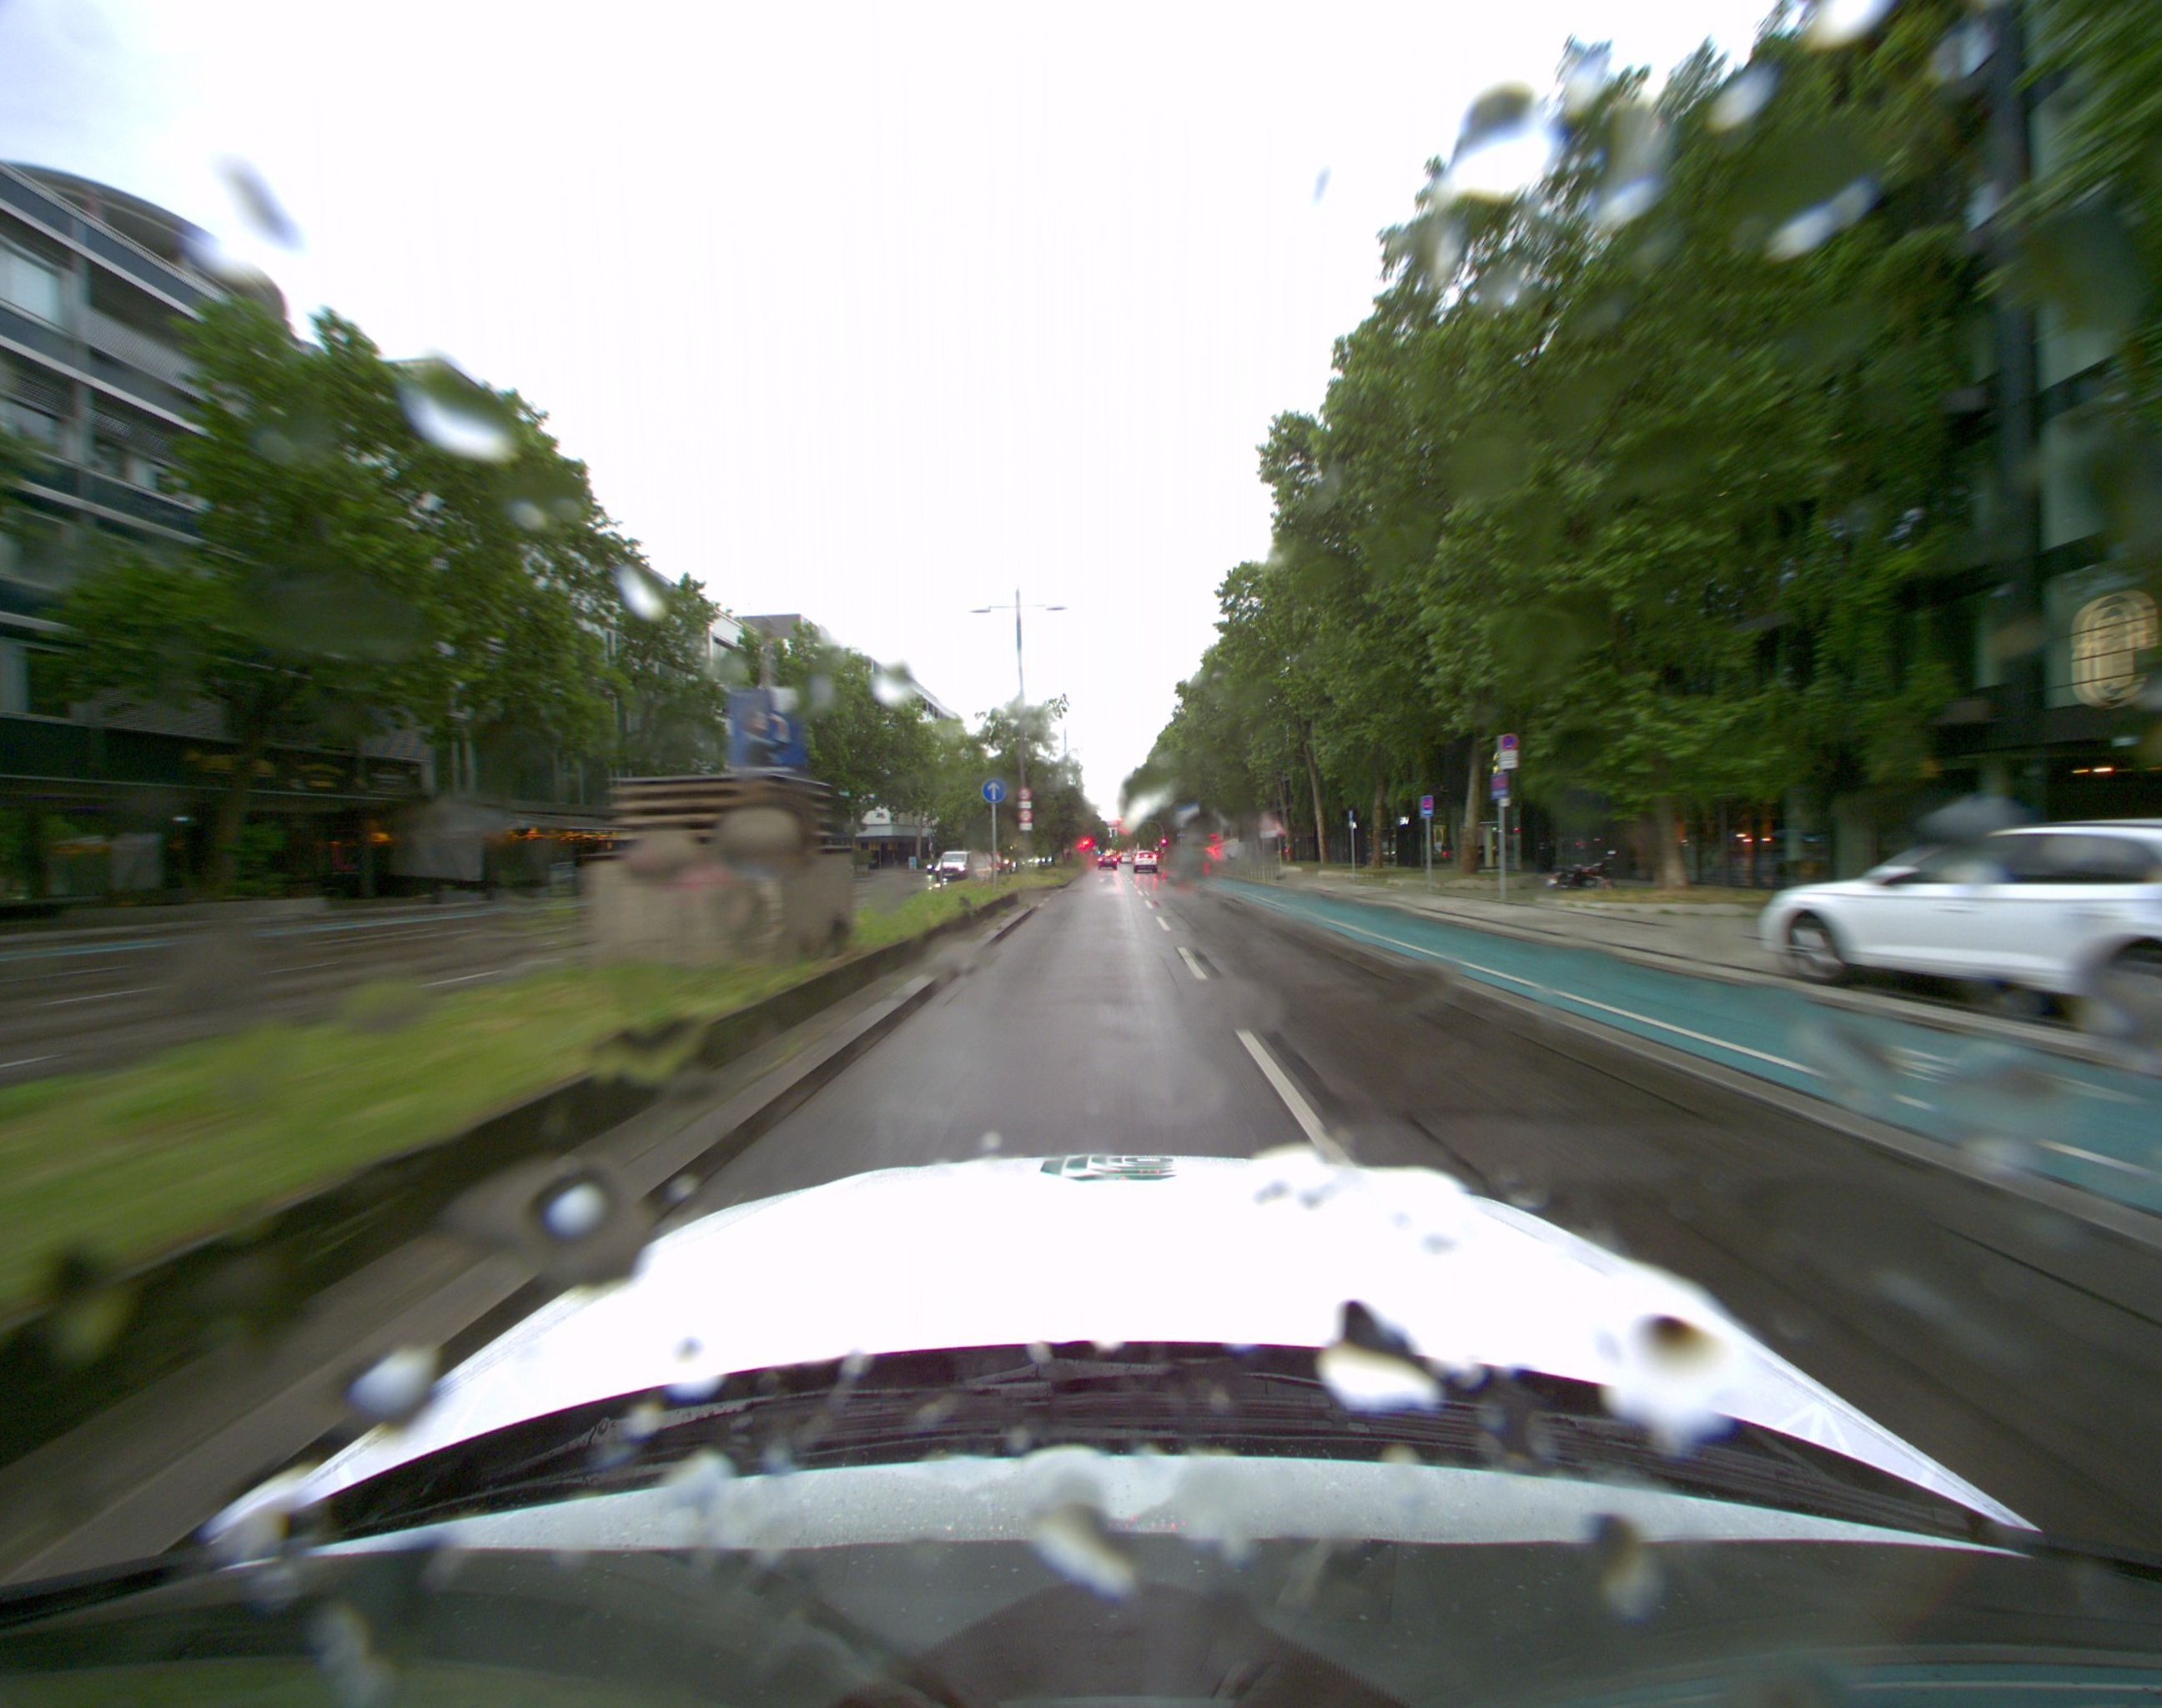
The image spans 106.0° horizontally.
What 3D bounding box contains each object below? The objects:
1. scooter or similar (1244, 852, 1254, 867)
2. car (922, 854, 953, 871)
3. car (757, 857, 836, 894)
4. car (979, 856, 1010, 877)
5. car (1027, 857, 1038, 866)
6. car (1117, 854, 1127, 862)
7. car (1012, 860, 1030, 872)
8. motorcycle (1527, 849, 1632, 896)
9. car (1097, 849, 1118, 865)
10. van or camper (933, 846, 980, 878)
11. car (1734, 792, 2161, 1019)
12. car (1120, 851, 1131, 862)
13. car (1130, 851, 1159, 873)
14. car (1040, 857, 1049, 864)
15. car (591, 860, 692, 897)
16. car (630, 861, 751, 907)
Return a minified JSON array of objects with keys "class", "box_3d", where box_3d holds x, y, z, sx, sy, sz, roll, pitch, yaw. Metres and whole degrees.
[{"class":"scooter or similar","box_3d":[14.277,0.478,69.254,0.377,1.228,1.086,-1,0,38]},{"class":"car","box_3d":[-12.827,0.720,73.035,1.741,1.476,4.100,-1,0,4]},{"class":"car","box_3d":[-13.667,0.996,39.396,1.751,1.614,4.557,0,1,7]},{"class":"car","box_3d":[-6.808,0.952,64.300,1.836,1.482,4.398,0,1,2]},{"class":"car","box_3d":[-8.854,1.366,150.160,1.608,1.394,4.186,-1,0,2]},{"class":"car","box_3d":[7.347,0.758,145.020,1.614,1.374,4.002,-1,0,2]},{"class":"car","box_3d":[-7.352,1.473,100.525,1.836,1.429,3.644,-1,0,1]},{"class":"motorcycle","box_3d":[13.880,0.493,22.735,2.299,1.270,1.053,0,0,0]},{"class":"car","box_3d":[2.571,0.255,79.425,1.911,1.491,4.002,-1,0,2]},{"class":"van or camper","box_3d":[-7.875,0.469,51.882,1.986,1.913,5.253,-1,0,2]},{"class":"car","box_3d":[8.698,0.344,7.345,1.837,1.632,4.787,-1,0,1]},{"class":"car","box_3d":[7.295,0.392,133.379,1.614,1.666,4.002,-2,0,2]},{"class":"car","box_3d":[5.037,0.590,65.118,1.986,1.655,4.890,-1,0,2]},{"class":"car","box_3d":[-7.594,1.336,171.795,1.608,1.394,3.599,-1,0,2]},{"class":"car","box_3d":[-18.259,0.975,34.100,1.553,1.353,4.685,0,1,2]},{"class":"car","box_3d":[-13.680,0.993,28.912,1.961,1.409,4.954,-1,0,-1]}]
